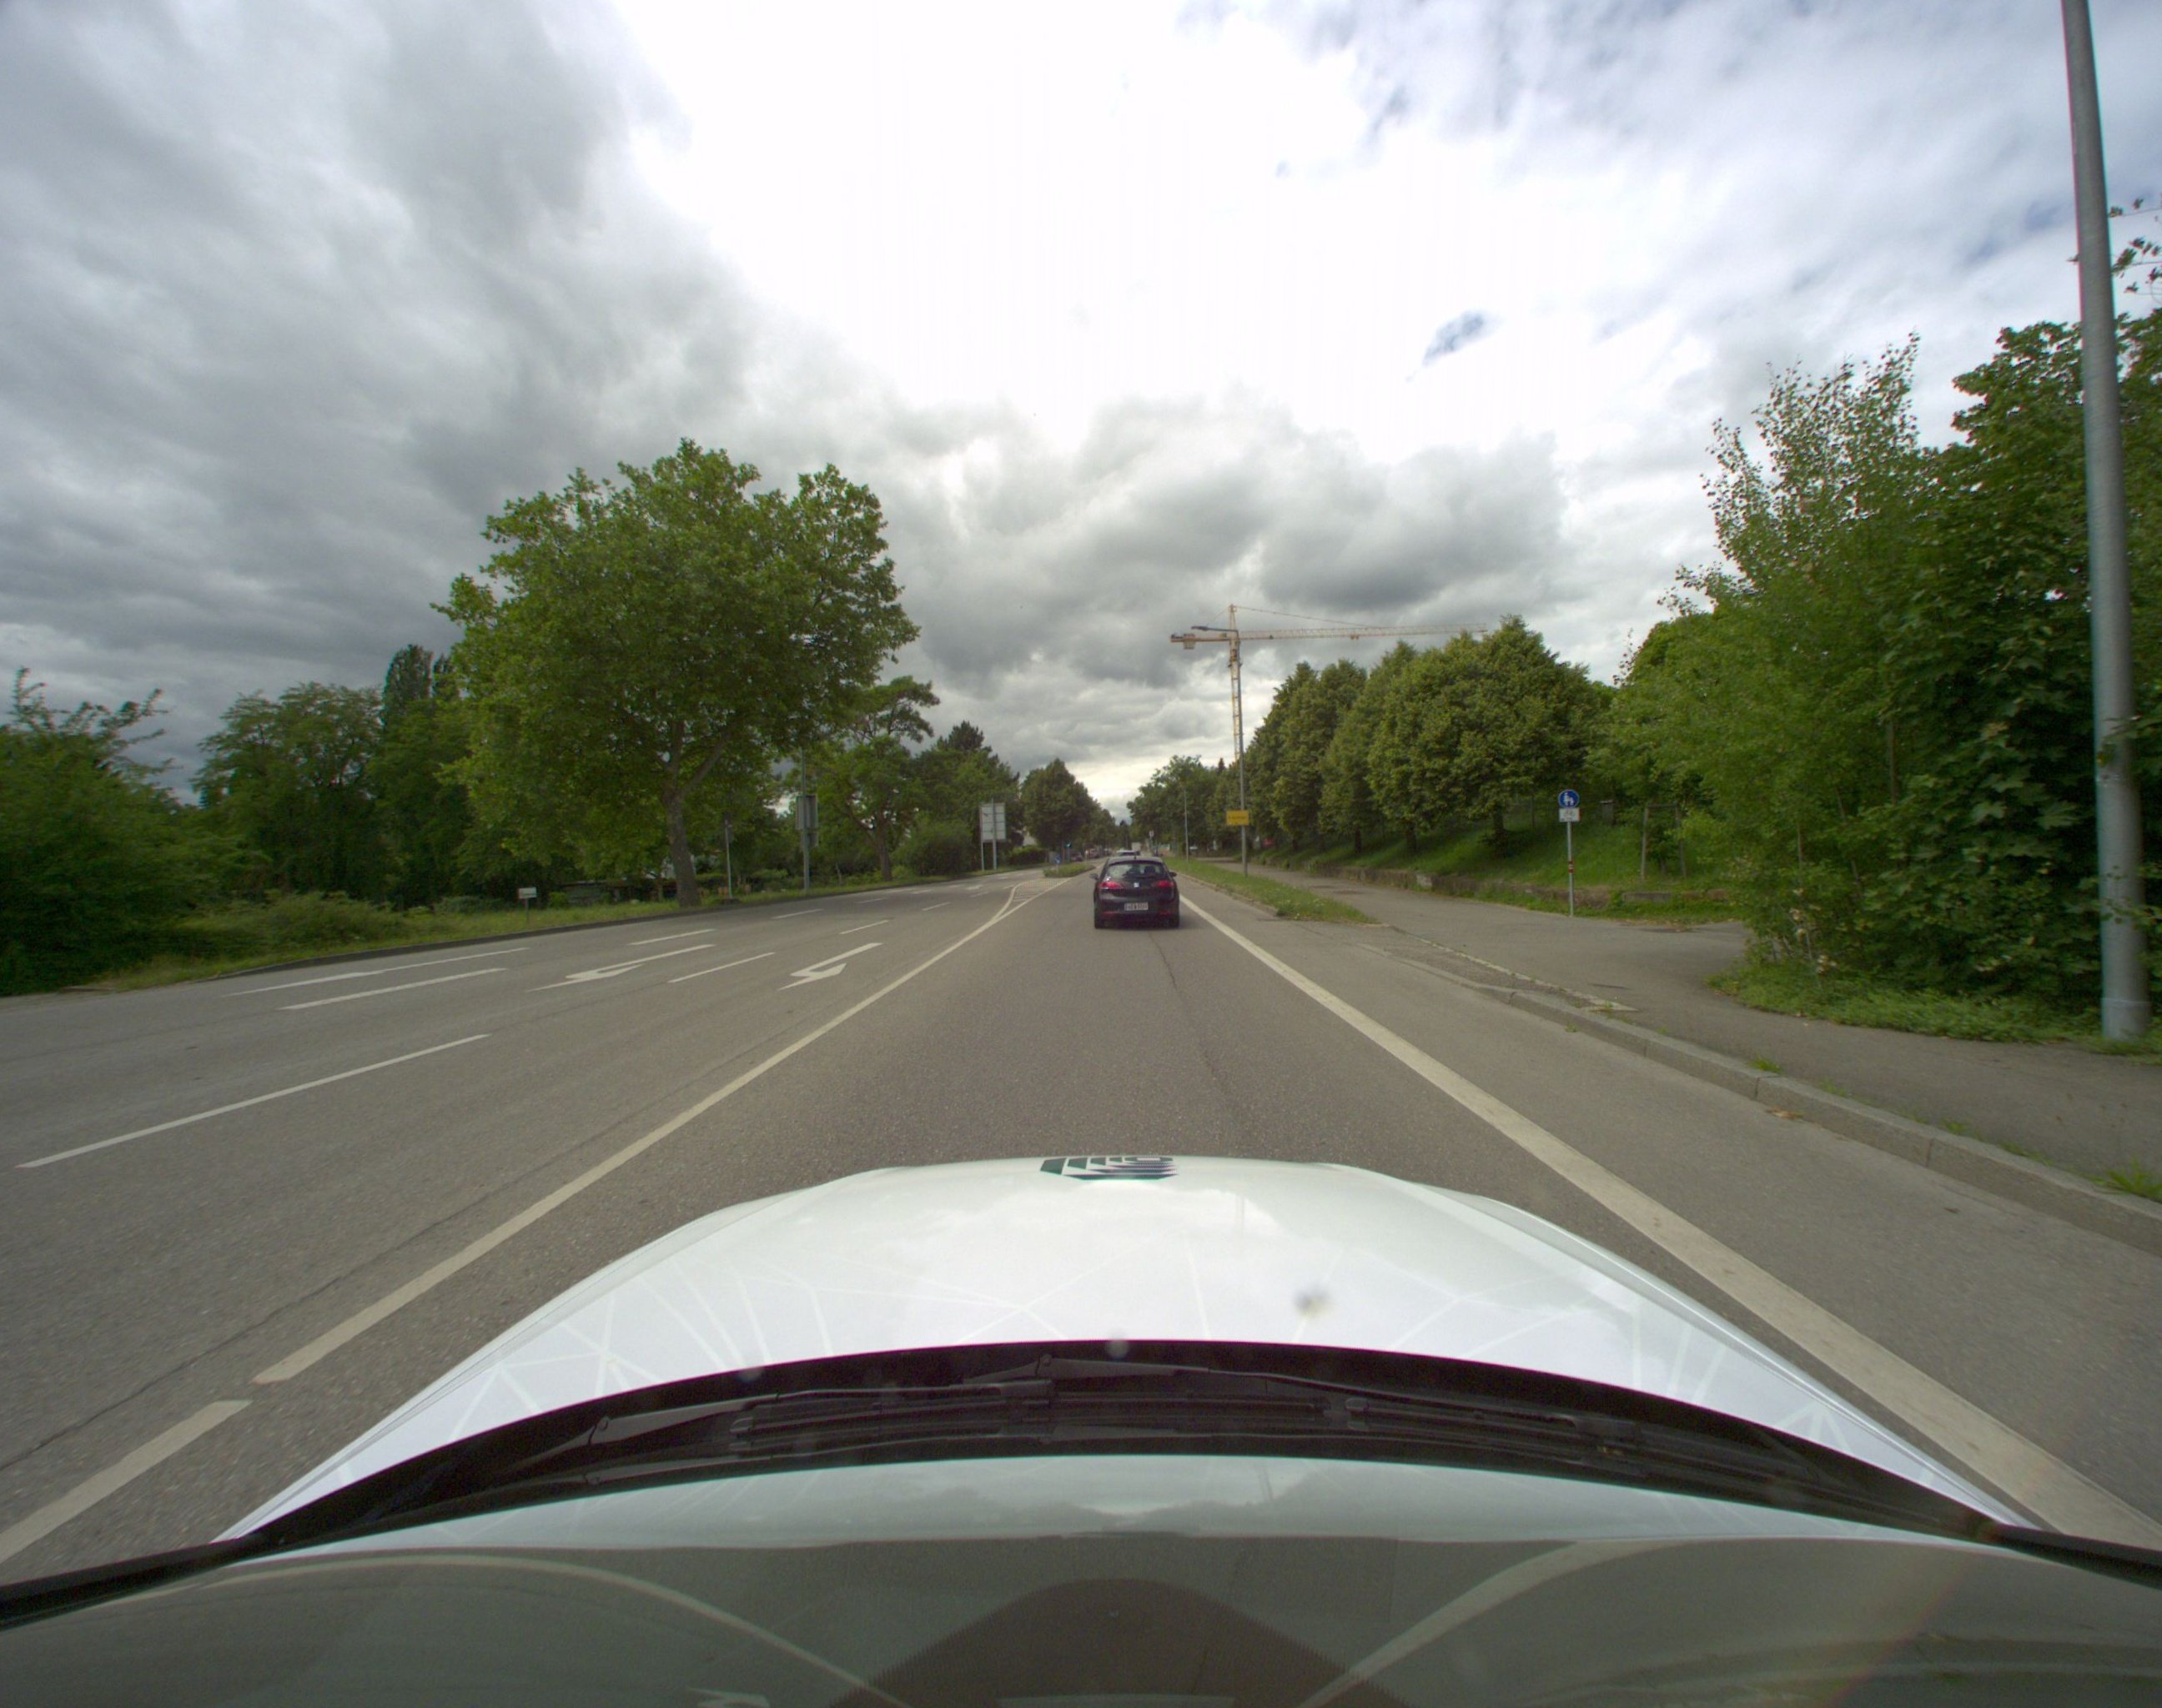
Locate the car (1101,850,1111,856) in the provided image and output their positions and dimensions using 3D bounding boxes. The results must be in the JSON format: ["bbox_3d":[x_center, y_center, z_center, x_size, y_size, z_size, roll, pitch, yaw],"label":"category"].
[{"bbox_3d":[6.492,-0.224,210.888,2.090,1.506,5.791,-4,0,4],"label":"car"}]

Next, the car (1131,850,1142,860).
[{"bbox_3d":[10.716,0.186,157.401,1.873,1.689,4.219,-2,0,4],"label":"car"}]

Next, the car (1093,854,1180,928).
[{"bbox_3d":[1.175,0.710,17.593,1.656,1.401,3.815,-1,0,3],"label":"car"}]

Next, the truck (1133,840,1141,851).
[{"bbox_3d":[16.042,-2.344,233.286,2.269,3.104,8.519,0,0,4],"label":"truck"}]

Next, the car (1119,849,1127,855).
[{"bbox_3d":[12.029,-0.607,232.585,1.865,1.634,4.348,-4,0,6],"label":"car"}]

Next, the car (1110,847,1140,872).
[{"bbox_3d":[2.799,0.324,51.951,1.838,1.510,3.815,-1,0,3],"label":"car"}]

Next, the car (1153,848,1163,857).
[{"bbox_3d":[13.885,-0.298,147.473,1.680,1.490,3.359,-2,0,4],"label":"car"}]

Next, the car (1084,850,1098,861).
[{"bbox_3d":[1.971,0.251,153.828,2.090,1.896,5.791,-4,0,4],"label":"car"}]

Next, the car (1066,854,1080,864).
[{"bbox_3d":[-1.204,0.698,124.691,1.710,1.395,4.807,-4,0,4],"label":"car"}]
